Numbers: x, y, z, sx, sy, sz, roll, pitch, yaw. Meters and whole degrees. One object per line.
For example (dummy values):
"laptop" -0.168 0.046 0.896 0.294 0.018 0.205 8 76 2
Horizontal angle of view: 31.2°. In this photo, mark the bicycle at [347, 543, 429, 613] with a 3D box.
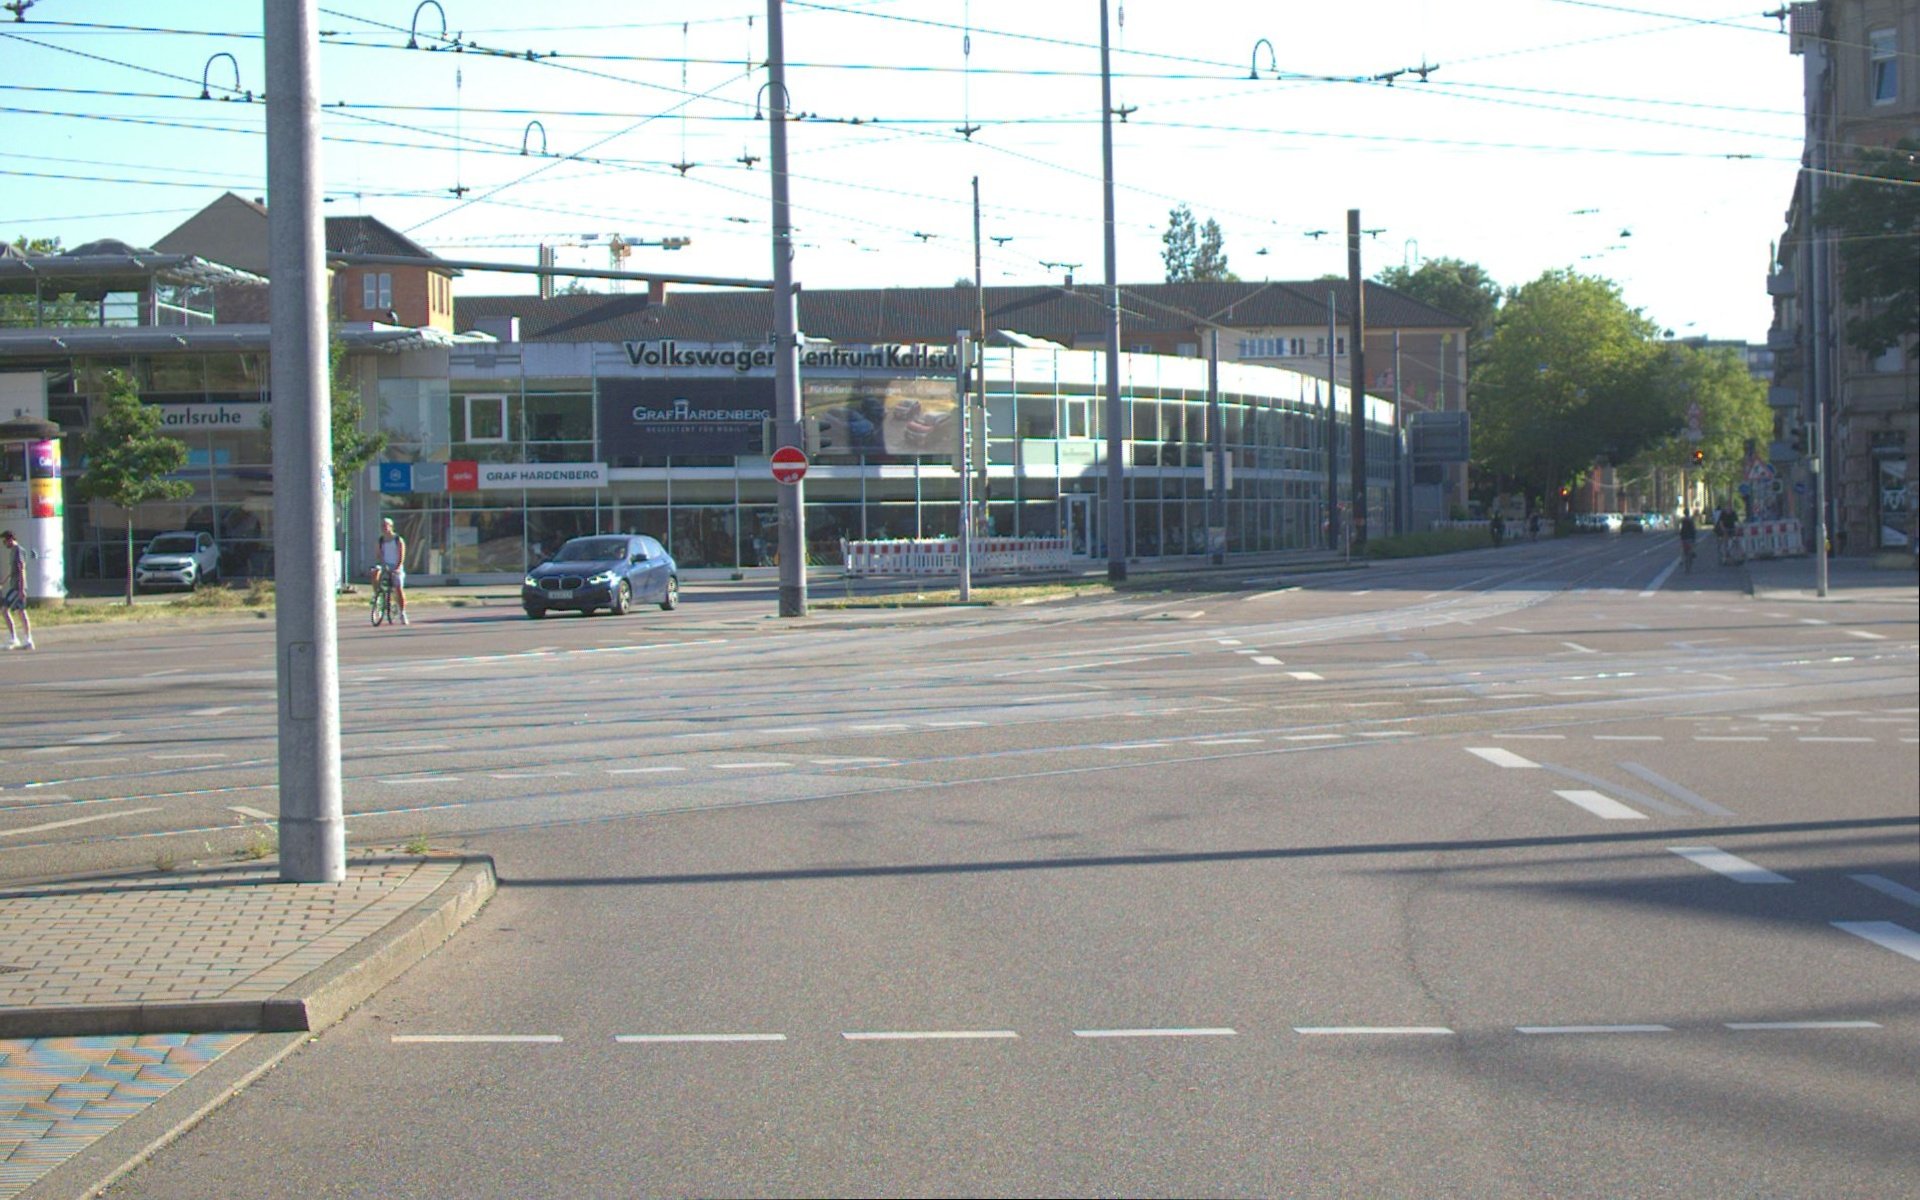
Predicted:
"bicycle" -9.914 -0.376 59.639 0.613 1.185 1.867 1 1 17

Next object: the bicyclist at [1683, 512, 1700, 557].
"bicyclist" 18.489 -1.659 86.903 0.408 1.112 0.399 1 0 11

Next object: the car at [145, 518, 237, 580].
"car" -22.186 -1.466 99.354 1.993 1.744 4.001 1 1 -4

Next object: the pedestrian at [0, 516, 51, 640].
"pedestrian" -14.459 -0.340 52.678 0.795 1.880 0.758 1 0 7

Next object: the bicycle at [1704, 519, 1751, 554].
"bicycle" 21.212 -1.750 95.057 0.657 0.949 1.600 1 1 -12

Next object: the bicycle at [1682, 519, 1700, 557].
"bicycle" 18.504 -1.561 86.996 0.410 0.938 1.844 1 1 12

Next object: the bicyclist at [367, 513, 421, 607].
"bicyclist" -9.851 -0.694 59.823 0.598 1.610 0.822 1 0 18

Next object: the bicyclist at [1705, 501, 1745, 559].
"bicyclist" 21.156 -1.930 95.088 0.771 1.571 0.762 1 0 -16

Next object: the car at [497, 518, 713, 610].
"car" -6.326 -0.635 61.695 1.996 1.579 3.994 1 1 27
